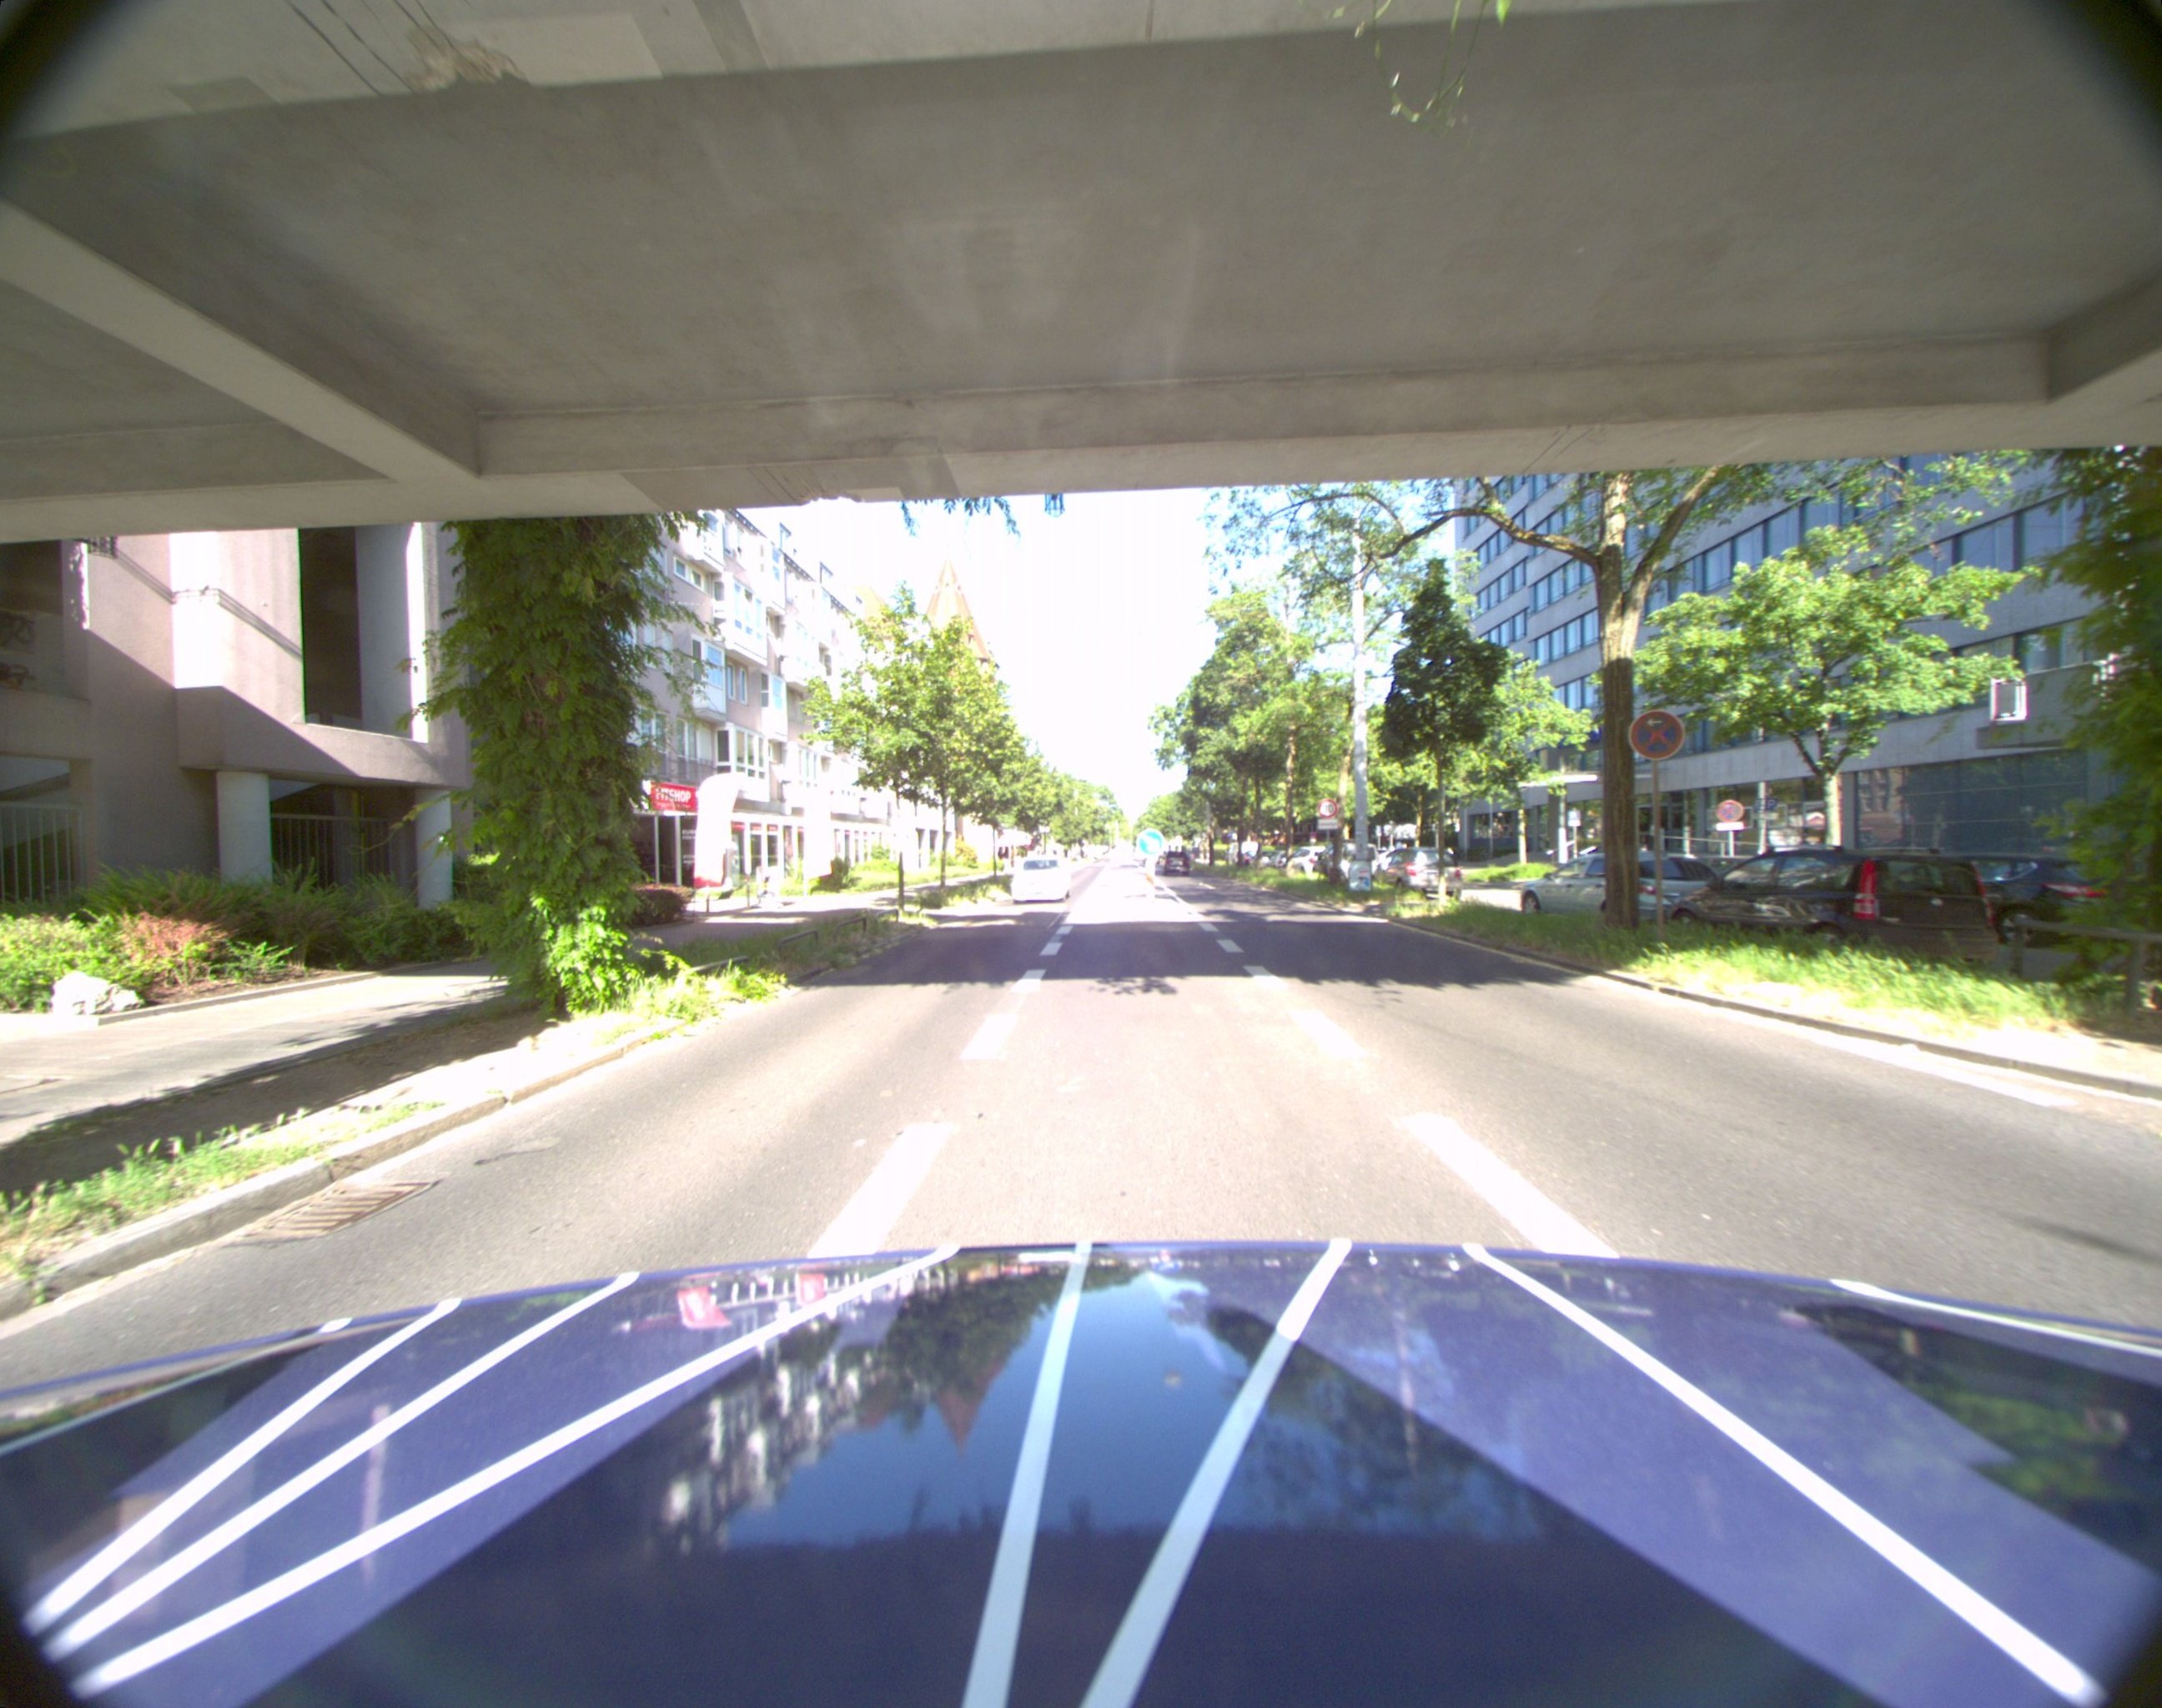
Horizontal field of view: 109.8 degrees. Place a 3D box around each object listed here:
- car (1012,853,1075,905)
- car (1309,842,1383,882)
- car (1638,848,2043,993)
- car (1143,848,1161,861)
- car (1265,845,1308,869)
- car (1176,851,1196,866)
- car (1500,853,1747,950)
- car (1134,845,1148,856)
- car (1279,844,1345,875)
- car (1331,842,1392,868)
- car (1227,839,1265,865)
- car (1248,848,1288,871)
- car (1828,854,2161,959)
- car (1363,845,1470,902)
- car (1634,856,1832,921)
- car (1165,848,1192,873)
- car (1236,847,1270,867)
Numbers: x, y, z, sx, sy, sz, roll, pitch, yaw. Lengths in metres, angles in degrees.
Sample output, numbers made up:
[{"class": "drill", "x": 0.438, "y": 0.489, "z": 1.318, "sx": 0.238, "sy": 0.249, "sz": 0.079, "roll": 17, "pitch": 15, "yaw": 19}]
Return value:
[{"class": "car", "x": -1.150, "y": 0.754, "z": 25.106, "sx": 1.663, "sy": 1.521, "sz": 4.099, "roll": -1, "pitch": 1, "yaw": 2}, {"class": "car", "x": 11.011, "y": 0.289, "z": 31.870, "sx": 1.734, "sy": 1.540, "sz": 4.449, "roll": -1, "pitch": 1, "yaw": 3}, {"class": "car", "x": 9.719, "y": 0.716, "z": 10.241, "sx": 1.744, "sy": 1.529, "sz": 3.779, "roll": 1, "pitch": 1, "yaw": 3}, {"class": "car", "x": 7.939, "y": 0.066, "z": 85.293, "sx": 1.791, "sy": 1.414, "sz": 4.188, "roll": 0, "pitch": 1, "yaw": 3}, {"class": "car", "x": 11.457, "y": 0.139, "z": 42.571, "sx": 1.655, "sy": 1.219, "sz": 3.848, "roll": -1, "pitch": 1, "yaw": 4}, {"class": "car", "x": 11.076, "y": 0.492, "z": 80.372, "sx": 1.740, "sy": 1.481, "sz": 4.000, "roll": -1, "pitch": 1, "yaw": 4}, {"class": "car", "x": 9.962, "y": 0.768, "z": 14.450, "sx": 1.656, "sy": 1.440, "sz": 4.282, "roll": 3, "pitch": 1, "yaw": 2}, {"class": "car", "x": 8.935, "y": -0.504, "z": 113.132, "sx": 1.791, "sy": 1.575, "sz": 4.188, "roll": -1, "pitch": 1, "yaw": 2}, {"class": "car", "x": 11.417, "y": 0.231, "z": 37.821, "sx": 1.721, "sy": 1.375, "sz": 4.491, "roll": -1, "pitch": 1, "yaw": -3}, {"class": "car", "x": 21.189, "y": 0.086, "z": 57.491, "sx": 3.994, "sy": 1.704, "sz": 1.706, "roll": -3, "pitch": 1, "yaw": 8}, {"class": "car", "x": 12.596, "y": -0.189, "z": 58.305, "sx": 2.070, "sy": 1.898, "sz": 4.525, "roll": -1, "pitch": 1, "yaw": 2}, {"class": "car", "x": 11.790, "y": 0.330, "z": 48.192, "sx": 1.656, "sy": 1.337, "sz": 3.969, "roll": -1, "pitch": 1, "yaw": 2}, {"class": "car", "x": 15.847, "y": 0.783, "z": 13.297, "sx": 1.736, "sy": 1.521, "sz": 4.000, "roll": 0, "pitch": 1, "yaw": 3}, {"class": "car", "x": 10.486, "y": 0.534, "z": 24.073, "sx": 1.777, "sy": 1.637, "sz": 4.083, "roll": -1, "pitch": 1, "yaw": 3}, {"class": "car", "x": 16.071, "y": 0.772, "z": 19.013, "sx": 1.685, "sy": 1.395, "sz": 3.800, "roll": 0, "pitch": 1, "yaw": 0}, {"class": "car", "x": 6.016, "y": 0.392, "z": 47.218, "sx": 1.470, "sy": 1.518, "sz": 2.817, "roll": 0, "pitch": 1, "yaw": 4}, {"class": "car", "x": 12.085, "y": 0.207, "z": 53.517, "sx": 1.679, "sy": 1.325, "sz": 4.189, "roll": -1, "pitch": 1, "yaw": 3}]
